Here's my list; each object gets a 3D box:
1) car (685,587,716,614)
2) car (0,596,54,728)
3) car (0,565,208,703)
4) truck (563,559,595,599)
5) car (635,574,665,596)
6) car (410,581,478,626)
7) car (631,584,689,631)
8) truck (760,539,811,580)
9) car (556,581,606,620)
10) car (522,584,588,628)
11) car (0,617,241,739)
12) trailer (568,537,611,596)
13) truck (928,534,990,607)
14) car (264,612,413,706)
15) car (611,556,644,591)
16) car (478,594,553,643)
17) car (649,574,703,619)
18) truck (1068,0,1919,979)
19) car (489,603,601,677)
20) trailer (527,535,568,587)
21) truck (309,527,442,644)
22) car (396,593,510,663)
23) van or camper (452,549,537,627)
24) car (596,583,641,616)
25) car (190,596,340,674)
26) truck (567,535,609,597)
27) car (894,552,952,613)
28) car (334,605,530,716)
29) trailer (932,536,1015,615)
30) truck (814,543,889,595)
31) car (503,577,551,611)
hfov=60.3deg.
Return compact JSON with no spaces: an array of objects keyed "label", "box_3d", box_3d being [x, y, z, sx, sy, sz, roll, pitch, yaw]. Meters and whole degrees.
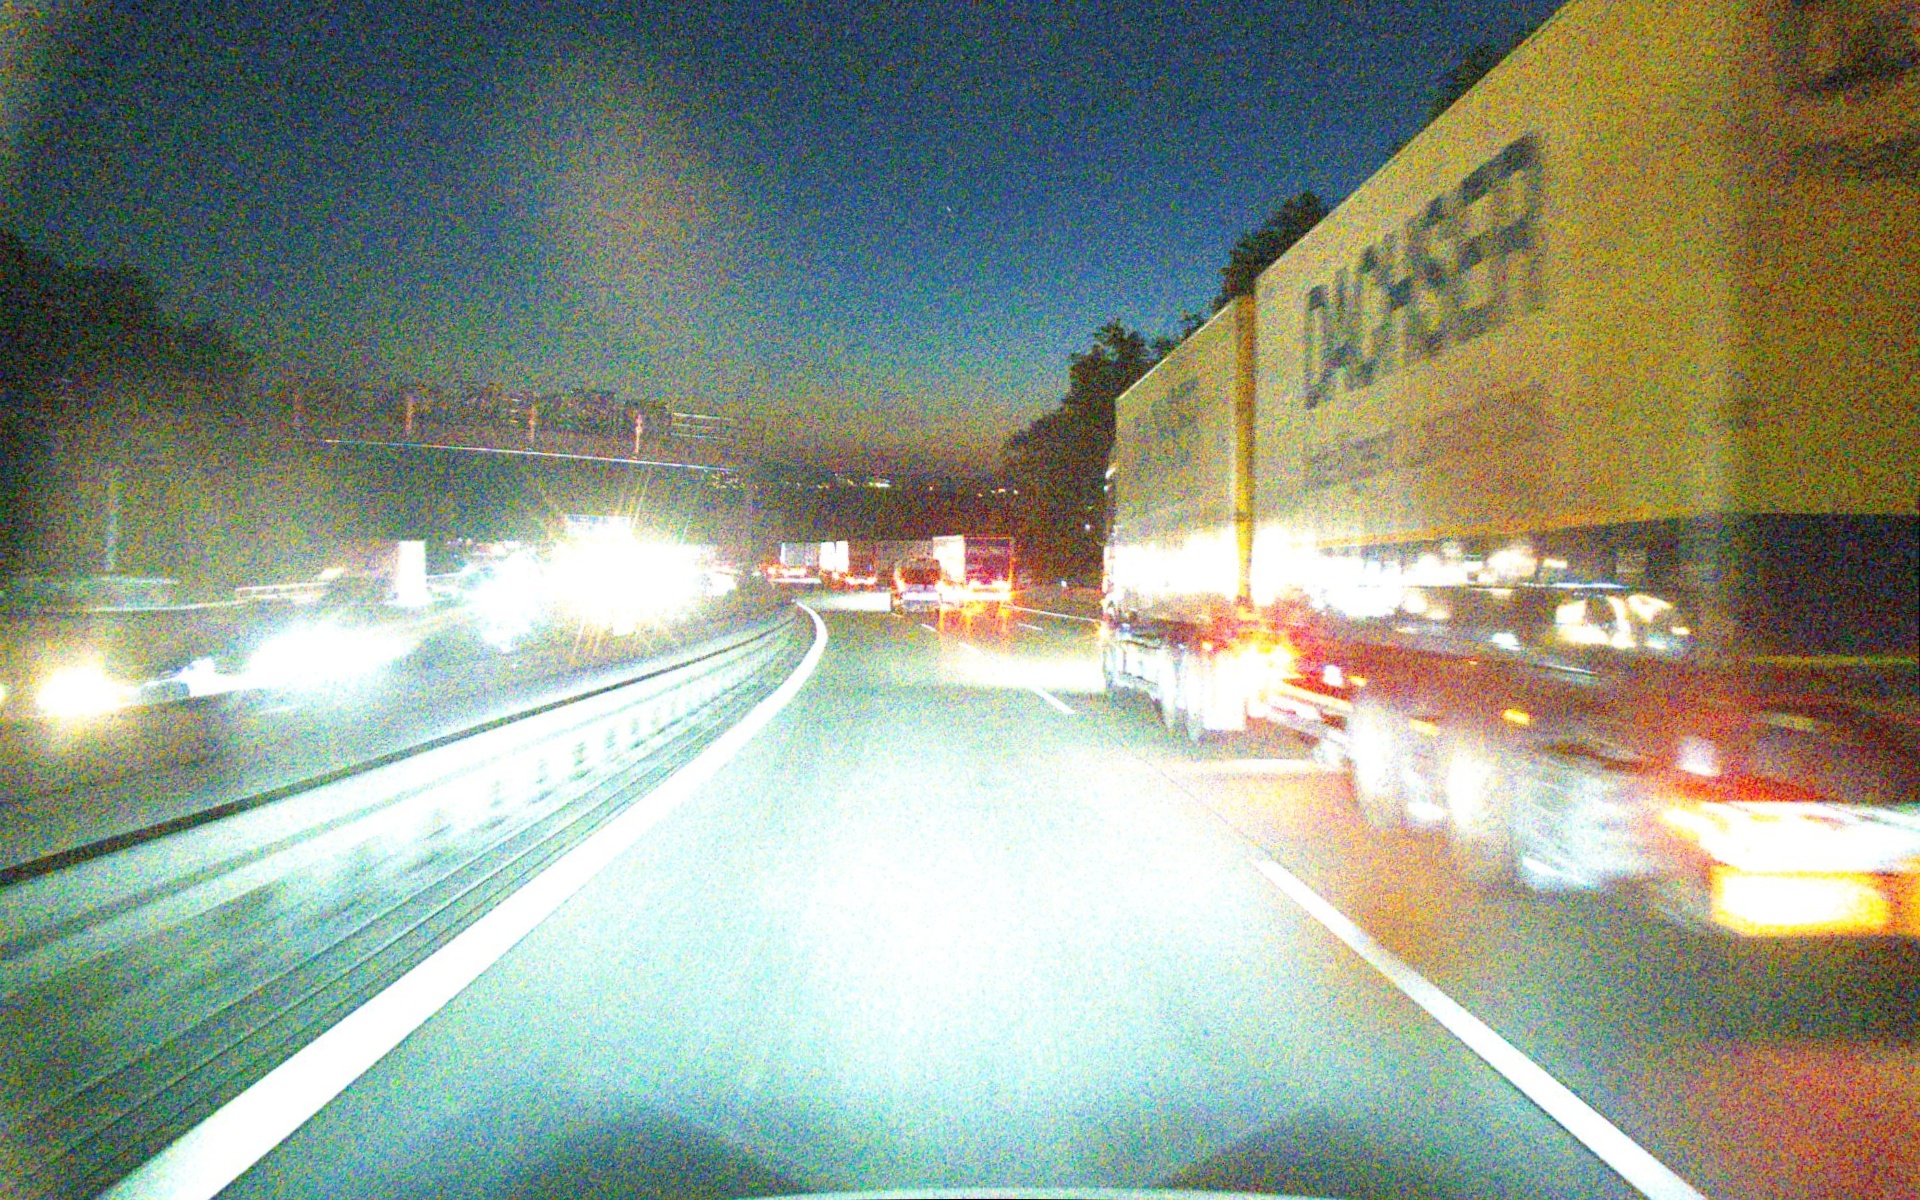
[{"label":"car","box_3d":[-12.622,0.008,80.493,1.391,1.278,3.125,0,1,-7]},{"label":"car","box_3d":[-15.471,0.958,24.124,1.954,1.994,4.984,-1,0,-3]},{"label":"car","box_3d":[-15.802,0.554,30.362,2.089,2.307,4.561,-1,1,-4]},{"label":"truck","box_3d":[-24.626,-1.367,107.133,1.959,2.501,5.035,0,1,-12]},{"label":"car","box_3d":[-22.127,-1.084,118.313,1.868,1.518,4.859,0,1,-8]},{"label":"car","box_3d":[-18.616,0.104,59.824,1.610,1.566,4.430,0,1,-8]},{"label":"car","box_3d":[-10.598,0.241,58.649,1.648,1.593,3.996,-1,0,-5]},{"label":"truck","box_3d":[-20.894,-4.852,197.193,3.291,4.553,13.847,3,1,-17]},{"label":"car","box_3d":[-15.888,-0.013,69.497,1.609,1.566,3.994,0,1,-7]},{"label":"car","box_3d":[-14.486,0.191,59.317,1.608,1.509,4.359,0,1,-5]},{"label":"car","box_3d":[-12.029,1.048,23.825,1.573,1.505,4.073,-1,0,0]},{"label":"trailer","box_3d":[-28.394,-2.644,127.063,2.824,4.256,14.485,0,2,-11]},{"label":"truck","box_3d":[-0.123,-1.759,97.857,2.807,4.147,7.500,0,2,-7]},{"label":"car","box_3d":[-12.901,1.174,34.573,1.703,1.774,3.998,-1,0,-2]},{"label":"car","box_3d":[-19.286,-1.520,96.093,1.646,1.883,4.102,3,-1,-10]},{"label":"car","box_3d":[-13.520,0.525,50.450,1.503,1.359,4.215,0,1,-5]},{"label":"car","box_3d":[-11.783,-0.164,68.945,1.771,1.771,4.863,0,1,-5]},{"label":"truck","box_3d":[3.656,-0.755,14.908,3.412,4.207,18.700,1,0,-2]},{"label":"car","box_3d":[-8.649,0.796,34.746,1.721,1.378,4.285,-1,1,-7]},{"label":"trailer","box_3d":[-35.432,-3.355,142.371,2.790,4.244,13.245,-2,2,-12]},{"label":"truck","box_3d":[-18.056,-0.442,51.548,2.331,3.317,7.710,-1,0,-8]},{"label":"car","box_3d":[-13.076,0.675,42.941,1.955,1.689,4.449,0,1,-5]},{"label":"van or camper","box_3d":[-19.315,-0.552,68.963,2.179,3.055,7.115,0,1,-6]},{"label":"car","box_3d":[-16.084,-0.036,78.021,1.665,1.489,3.479,0,1,-4]},{"label":"car","box_3d":[-16.562,0.789,39.661,1.823,1.729,4.392,-1,0,-2]},{"label":"truck","box_3d":[-26.548,-2.431,118.125,2.815,4.283,6.088,0,1,-12]},{"label":"car","box_3d":[-1.686,-0.758,76.790,2.288,2.686,5.249,1,-1,2]},{"label":"car","box_3d":[-7.684,0.812,24.504,1.720,1.378,4.631,0,1,-4]},{"label":"trailer","box_3d":[0.589,-1.459,92.511,2.800,4.138,13.184,0,2,-8]},{"label":"truck","box_3d":[-10.612,-2.953,158.276,3.847,4.708,20.950,-1,1,-13]},{"label":"car","box_3d":[-21.992,-0.297,84.171,1.891,1.682,4.726,0,0,-9]}]
